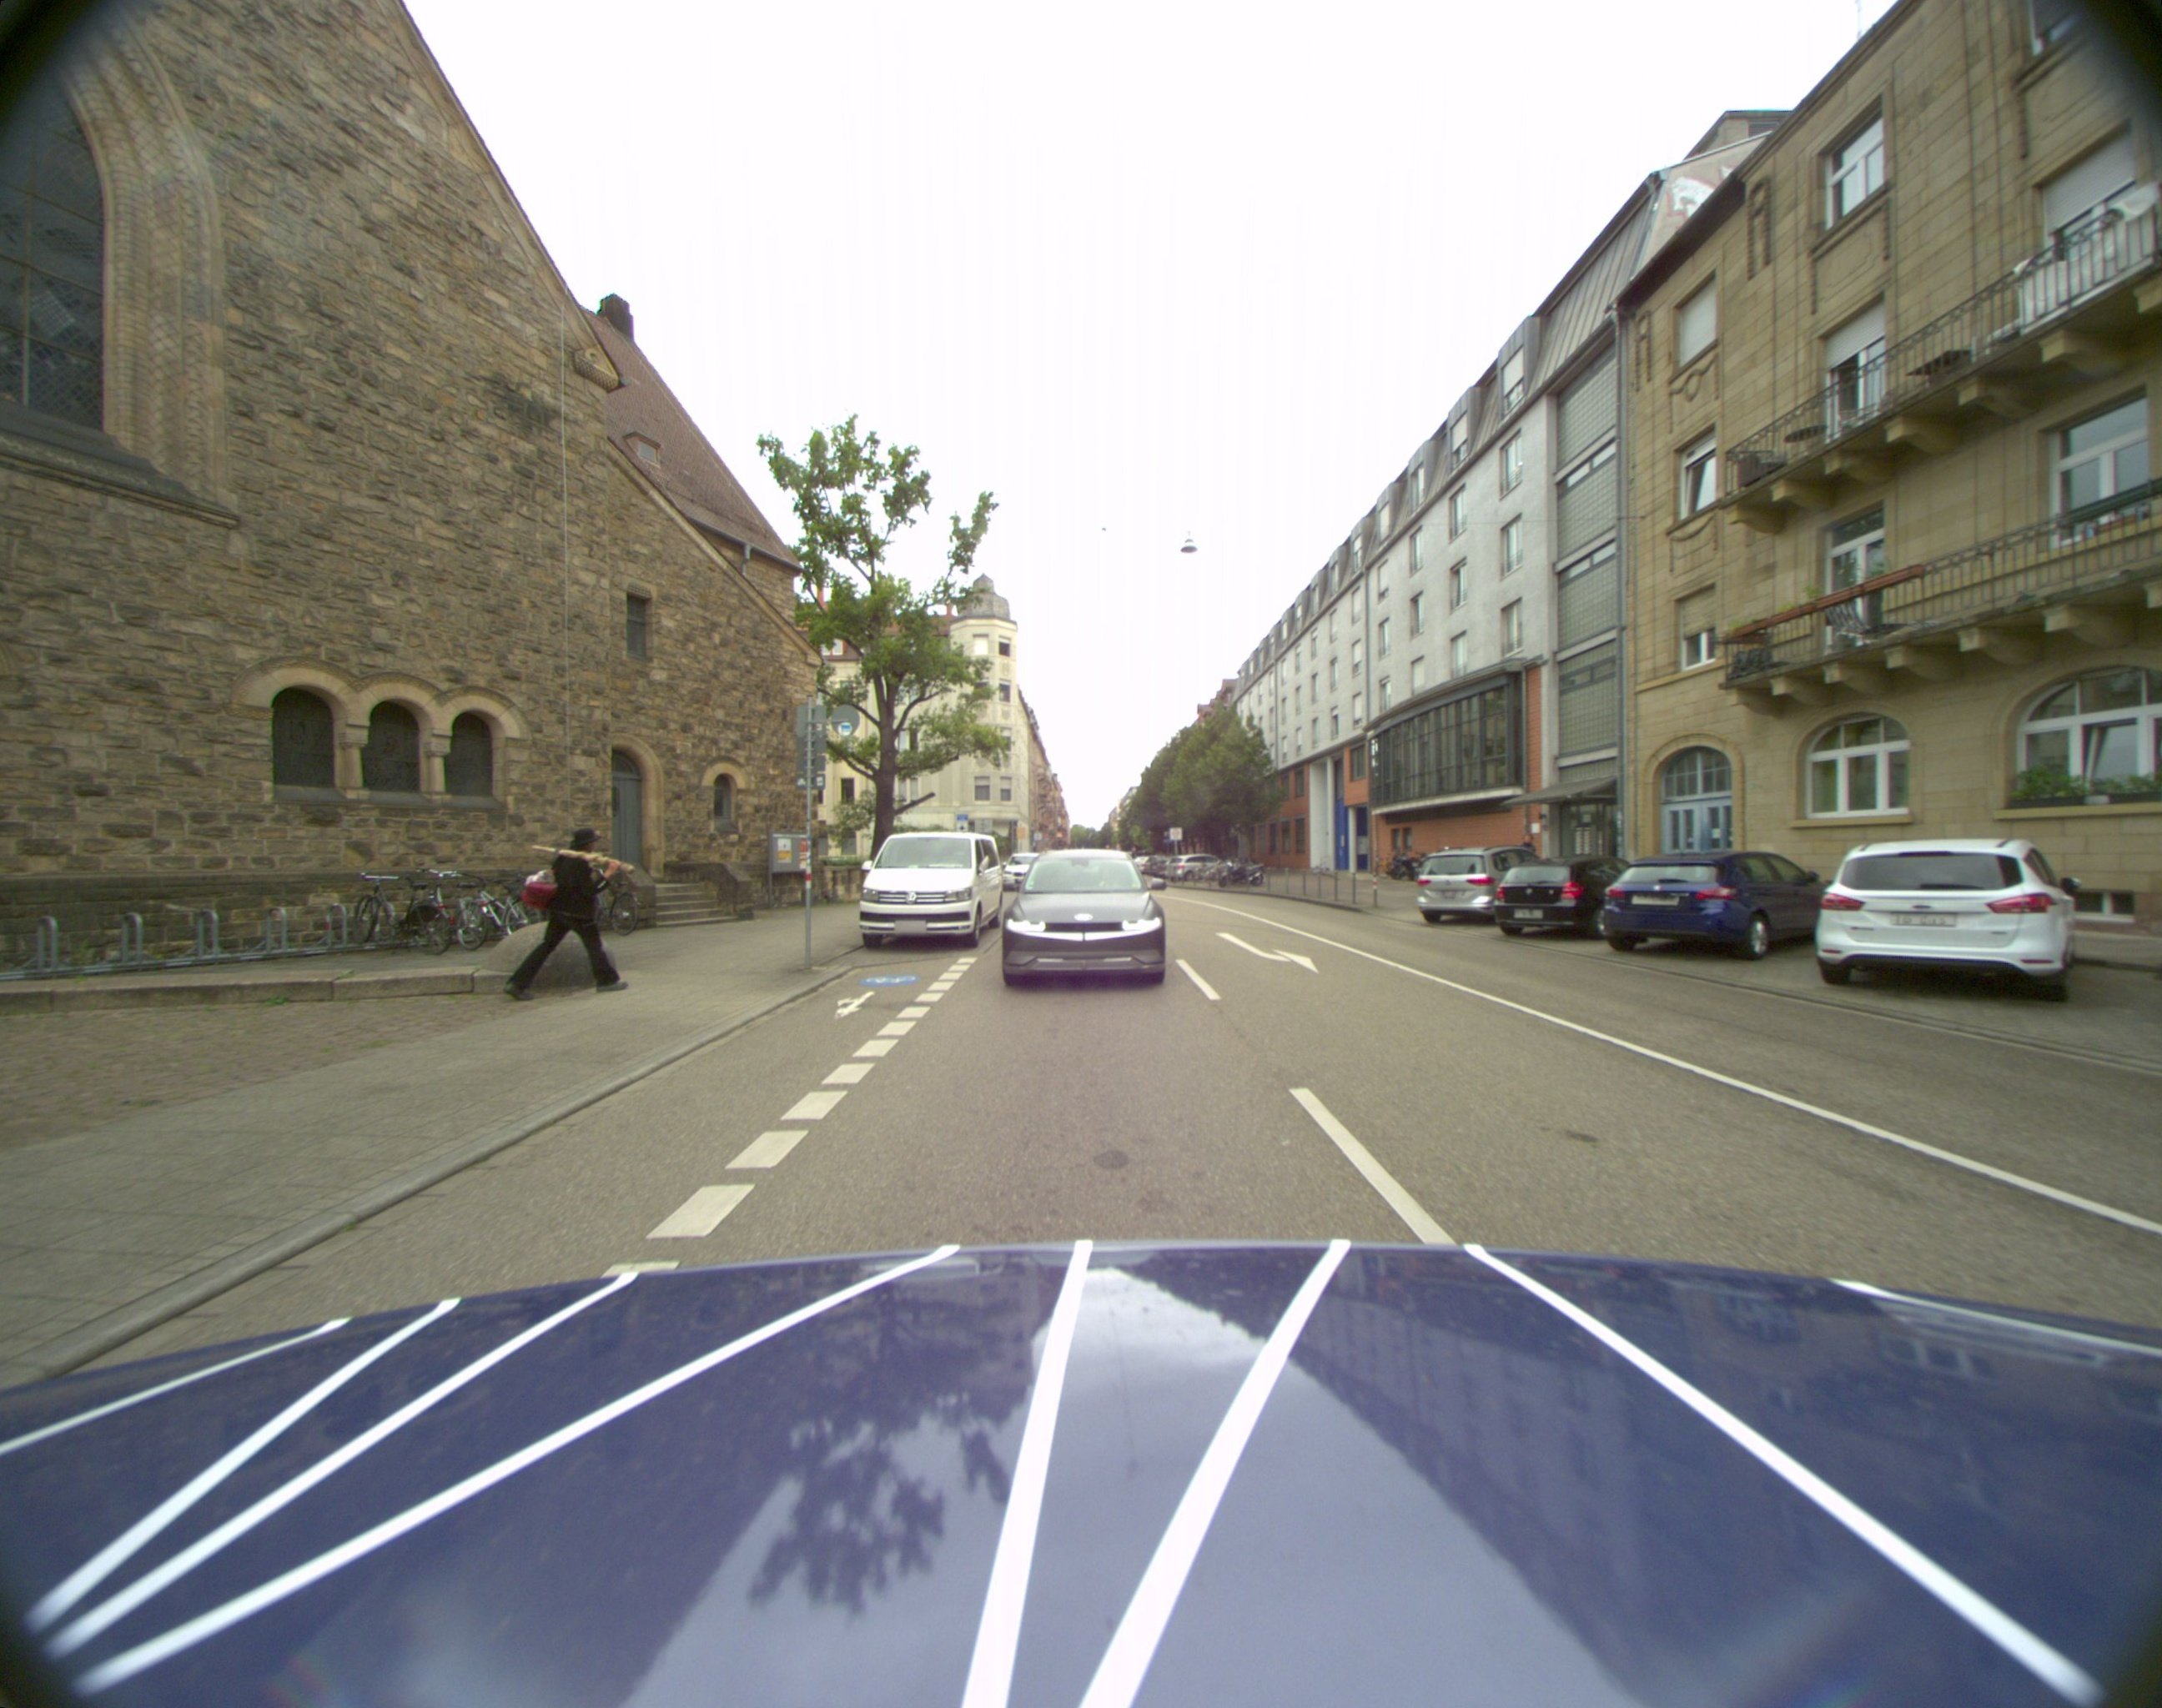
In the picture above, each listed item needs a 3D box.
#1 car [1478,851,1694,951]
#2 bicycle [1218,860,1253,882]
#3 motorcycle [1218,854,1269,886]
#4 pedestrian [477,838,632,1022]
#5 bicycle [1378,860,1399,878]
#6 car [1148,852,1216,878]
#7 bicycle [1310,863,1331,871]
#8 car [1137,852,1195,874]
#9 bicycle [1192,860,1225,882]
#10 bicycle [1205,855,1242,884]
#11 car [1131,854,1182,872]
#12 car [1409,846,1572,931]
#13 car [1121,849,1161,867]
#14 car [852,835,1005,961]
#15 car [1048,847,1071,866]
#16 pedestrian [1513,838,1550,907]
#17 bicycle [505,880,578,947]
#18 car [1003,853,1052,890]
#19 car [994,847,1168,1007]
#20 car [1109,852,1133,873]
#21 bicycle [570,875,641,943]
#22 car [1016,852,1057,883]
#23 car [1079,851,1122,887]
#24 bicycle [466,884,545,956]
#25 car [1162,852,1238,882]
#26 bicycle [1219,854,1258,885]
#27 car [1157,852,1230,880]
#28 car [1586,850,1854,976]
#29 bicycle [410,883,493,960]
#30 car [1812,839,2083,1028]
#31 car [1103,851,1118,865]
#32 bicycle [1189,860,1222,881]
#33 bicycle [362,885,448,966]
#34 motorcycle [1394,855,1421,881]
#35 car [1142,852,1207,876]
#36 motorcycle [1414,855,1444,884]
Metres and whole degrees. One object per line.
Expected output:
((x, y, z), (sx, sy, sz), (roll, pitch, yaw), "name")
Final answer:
((9.394, 0.779, 14.072), (4.006, 1.430, 1.729), (-3, 1, -31), "car")
((7.875, 0.853, 38.780), (1.630, 1.067, 0.416), (-2, 1, 0), "bicycle")
((7.295, 0.731, 34.194), (2.124, 1.345, 0.599), (-2, 1, 2), "motorcycle")
((-5.516, 0.734, 8.014), (0.814, 1.798, 1.021), (0, 1, 22), "pedestrian")
((14.201, 0.693, 35.116), (0.336, 0.783, 1.581), (0, 0, 2), "bicycle")
((6.636, 0.682, 50.029), (4.004, 1.619, 1.996), (-1, 0, -22), "car")
((13.787, 0.769, 43.761), (1.010, 0.434, 0.527), (-1, 2, 2), "bicycle")
((6.544, 0.646, 58.746), (4.004, 1.619, 1.996), (-1, 0, -22), "car")
((6.670, 0.870, 39.717), (1.630, 1.067, 0.416), (-2, 1, 0), "bicycle")
((6.733, 0.741, 36.033), (1.630, 1.282, 0.416), (-2, 1, 0), "bicycle")
((6.523, 0.777, 65.383), (4.004, 1.488, 1.735), (-1, 0, -22), "car")
((9.294, 0.706, 17.121), (4.007, 1.545, 1.729), (-3, 1, -38), "car")
((6.717, 0.440, 85.043), (4.004, 1.897, 1.996), (-1, 0, -22), "car")
((-2.589, 0.664, 14.163), (1.810, 1.908, 5.163), (-1, 0, 0), "car")
((-1.879, 0.218, 66.429), (1.820, 1.556, 4.000), (-1, 0, 1), "car")
((12.009, 0.489, 20.272), (0.621, 1.812, 0.642), (-1, 1, 1), "pedestrian")
((-8.849, 0.956, 12.457), (1.340, 1.054, 0.311), (0, 1, 23), "bicycle")
((-2.315, 0.741, 33.951), (1.820, 1.556, 4.000), (-1, 0, 1), "car")
((0.039, 0.769, 10.039), (1.820, 1.675, 4.000), (-1, 0, 1), "car")
((3.396, 0.703, 65.297), (1.698, 1.793, 4.128), (0, 0, -1), "car")
((-8.254, 0.934, 13.180), (1.340, 1.140, 0.311), (0, 1, 23), "bicycle")
((-2.298, 0.667, 39.881), (1.820, 1.556, 4.000), (-1, 0, 1), "car")
((0.971, 0.692, 36.612), (1.910, 1.597, 4.251), (-1, 1, 2), "car")
((-8.932, 1.001, 11.778), (1.380, 1.054, 0.311), (0, 1, 23), "bicycle")
((6.909, 0.725, 44.149), (4.004, 1.619, 1.769), (-1, 0, -22), "car")
((7.276, 0.708, 35.123), (1.630, 1.345, 0.416), (-2, 1, 0), "bicycle")
((6.938, 0.708, 46.809), (4.004, 1.619, 1.996), (-1, 0, -22), "car")
((9.603, 0.767, 11.389), (3.754, 1.437, 1.820), (-3, 0, -29), "car")
((-9.204, 0.967, 11.103), (1.380, 1.054, 0.311), (0, 1, 23), "bicycle")
((9.935, 0.712, 8.628), (4.007, 1.545, 1.699), (-3, 1, -37), "car")
((4.046, 0.502, 103.858), (1.998, 1.897, 4.000), (0, 0, 2), "car")
((6.585, 0.864, 40.212), (1.630, 1.067, 0.416), (-2, 1, 0), "bicycle")
((-9.373, 0.967, 10.521), (1.380, 1.054, 0.311), (0, 1, 23), "bicycle")
((13.978, 0.577, 32.533), (0.446, 1.091, 1.763), (0, 0, 2), "motorcycle")
((6.464, 0.658, 52.800), (4.004, 1.619, 1.996), (-1, 0, -22), "car")
((13.969, 0.605, 30.525), (0.446, 1.091, 1.763), (0, 0, 2), "motorcycle")
